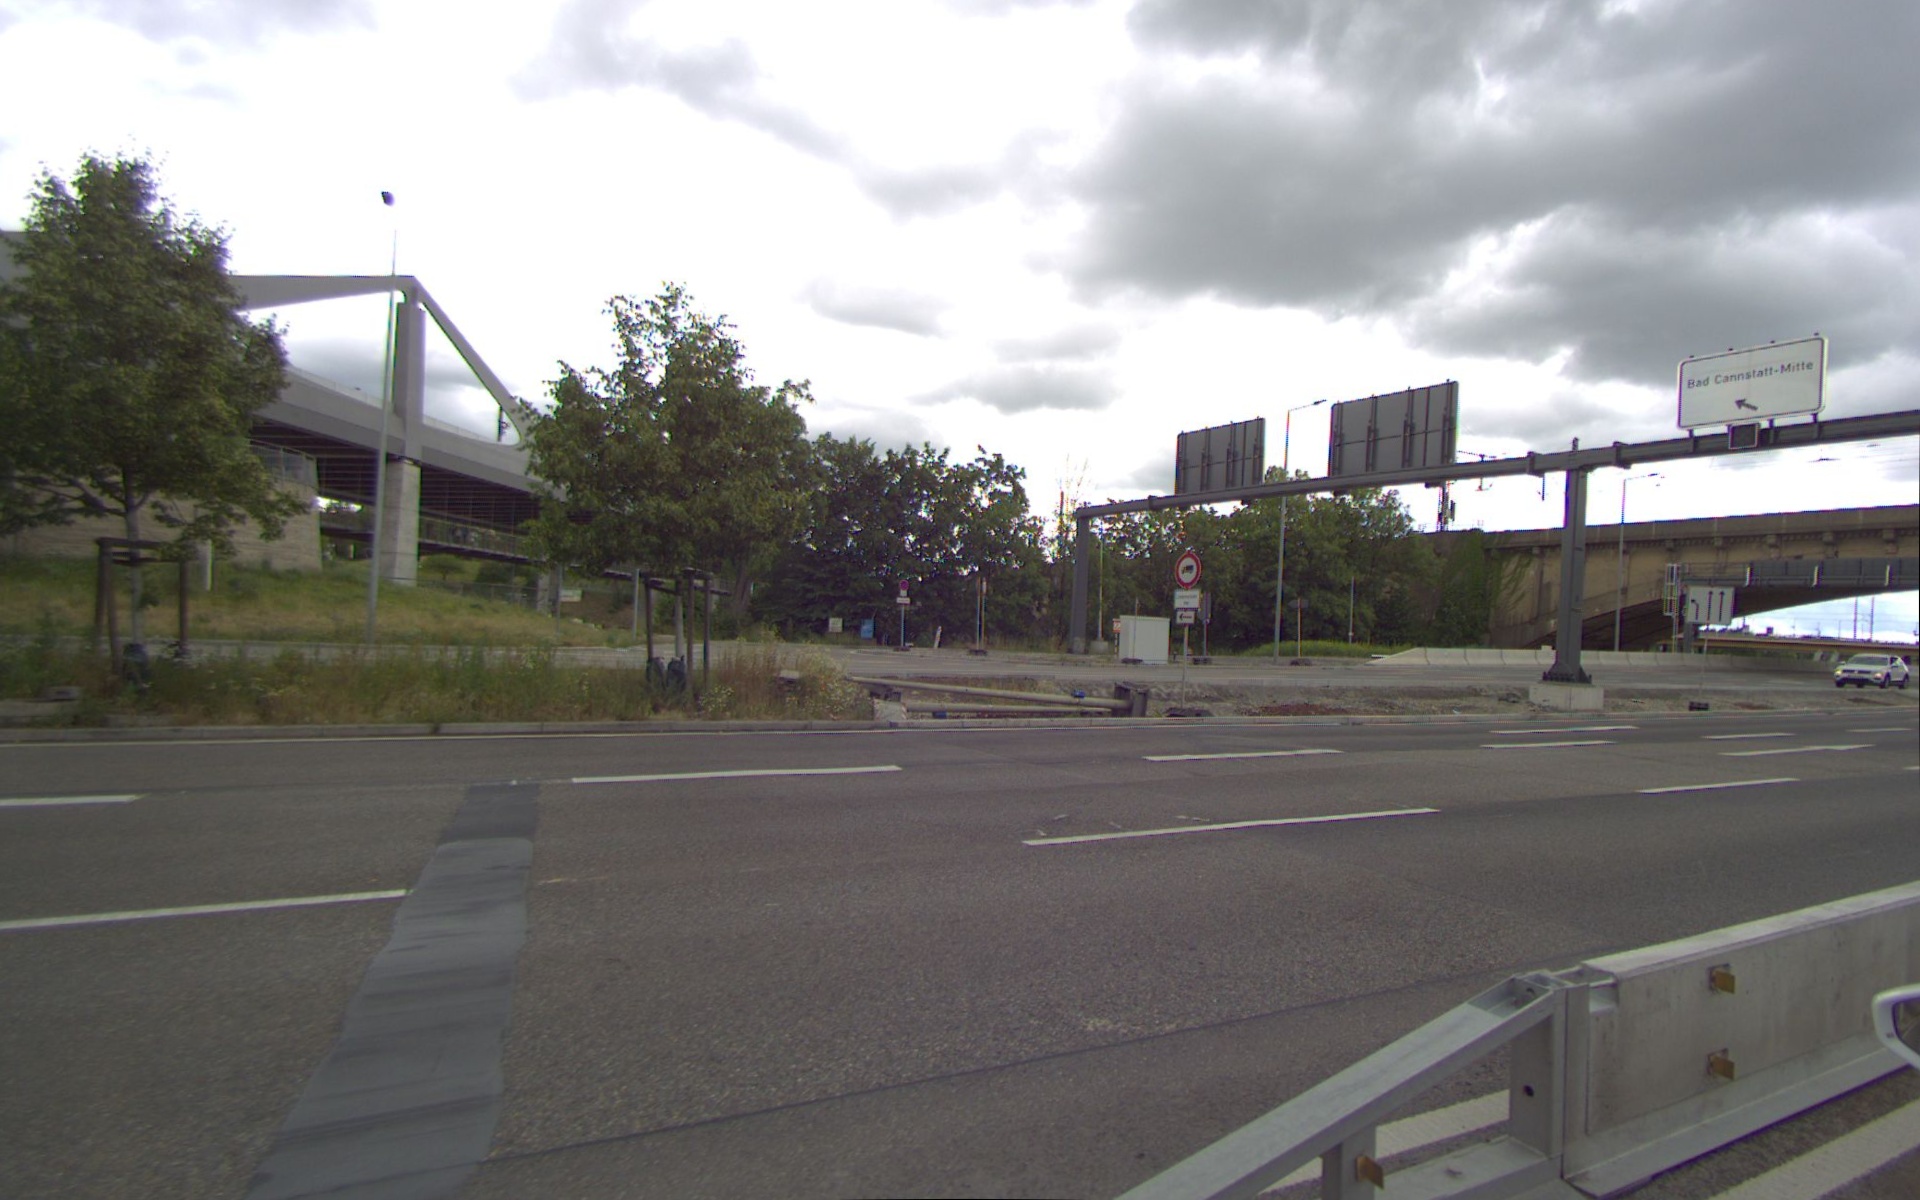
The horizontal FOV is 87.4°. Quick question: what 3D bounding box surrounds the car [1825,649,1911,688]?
[{"bbox_3d":[42.551,3.214,47.048,4.237,1.684,1.791,3,-1,-30],"label":"car"}]
